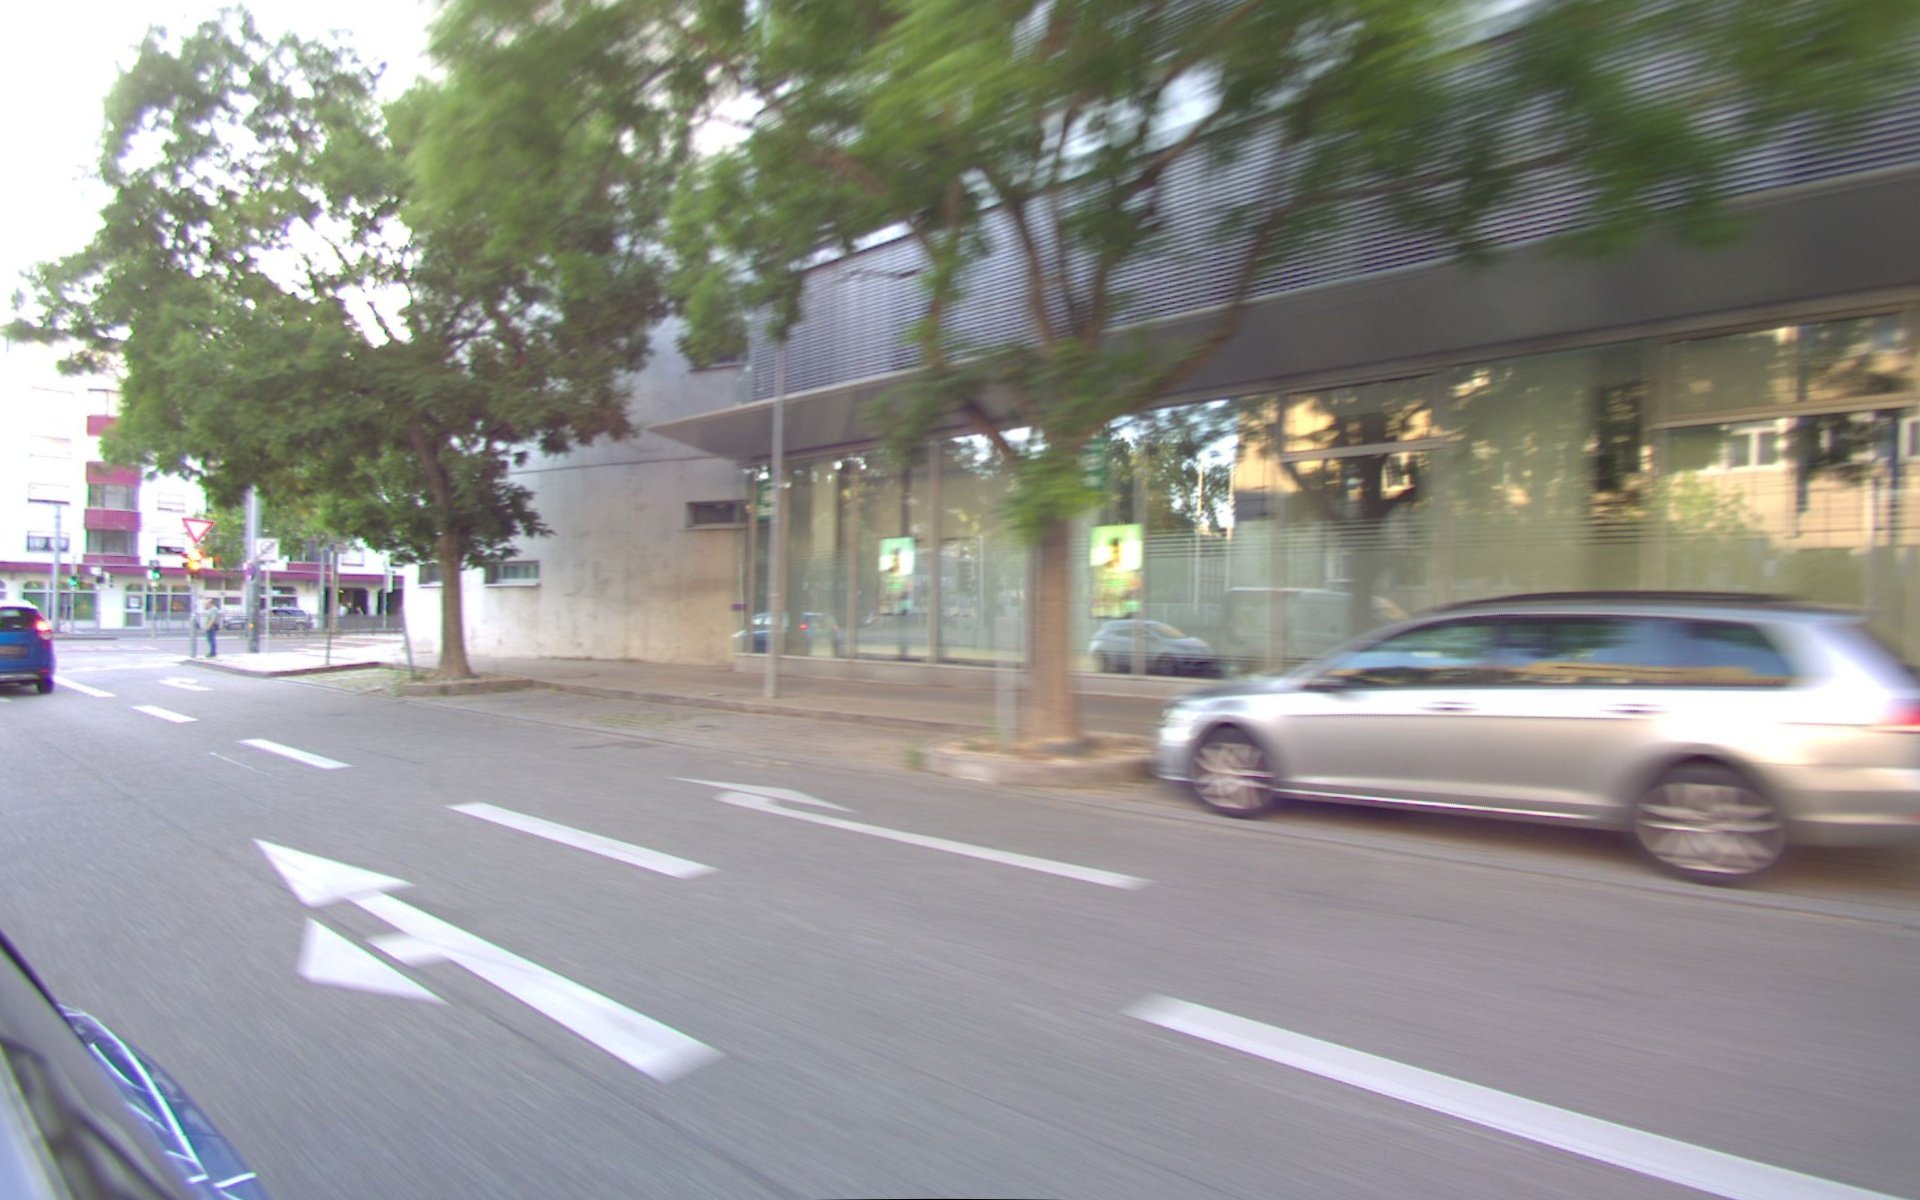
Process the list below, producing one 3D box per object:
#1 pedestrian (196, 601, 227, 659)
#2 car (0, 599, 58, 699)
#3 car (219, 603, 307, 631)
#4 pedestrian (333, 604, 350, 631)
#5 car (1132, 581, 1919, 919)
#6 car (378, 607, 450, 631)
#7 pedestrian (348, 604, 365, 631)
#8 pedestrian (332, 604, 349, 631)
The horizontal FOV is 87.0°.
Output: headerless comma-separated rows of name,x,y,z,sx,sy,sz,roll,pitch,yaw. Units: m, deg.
pedestrian,-22.442,0.907,30.345,0.537,1.714,0.710,1,-1,-22
car,-17.869,0.836,18.398,4.272,1.691,1.729,0,-1,42
car,-41.469,1.022,60.281,1.665,1.608,4.046,0,-2,41
pedestrian,-41.908,1.171,68.591,0.692,1.820,0.824,-1,-2,43
car,3.523,0.679,6.291,4.624,1.472,1.686,-1,1,41
car,-37.626,1.350,69.779,1.665,1.608,4.046,0,-2,41
pedestrian,-41.747,1.220,70.050,0.692,1.820,0.824,-1,-2,43
pedestrian,-42.462,1.194,69.385,0.692,1.820,0.824,-1,-2,43
